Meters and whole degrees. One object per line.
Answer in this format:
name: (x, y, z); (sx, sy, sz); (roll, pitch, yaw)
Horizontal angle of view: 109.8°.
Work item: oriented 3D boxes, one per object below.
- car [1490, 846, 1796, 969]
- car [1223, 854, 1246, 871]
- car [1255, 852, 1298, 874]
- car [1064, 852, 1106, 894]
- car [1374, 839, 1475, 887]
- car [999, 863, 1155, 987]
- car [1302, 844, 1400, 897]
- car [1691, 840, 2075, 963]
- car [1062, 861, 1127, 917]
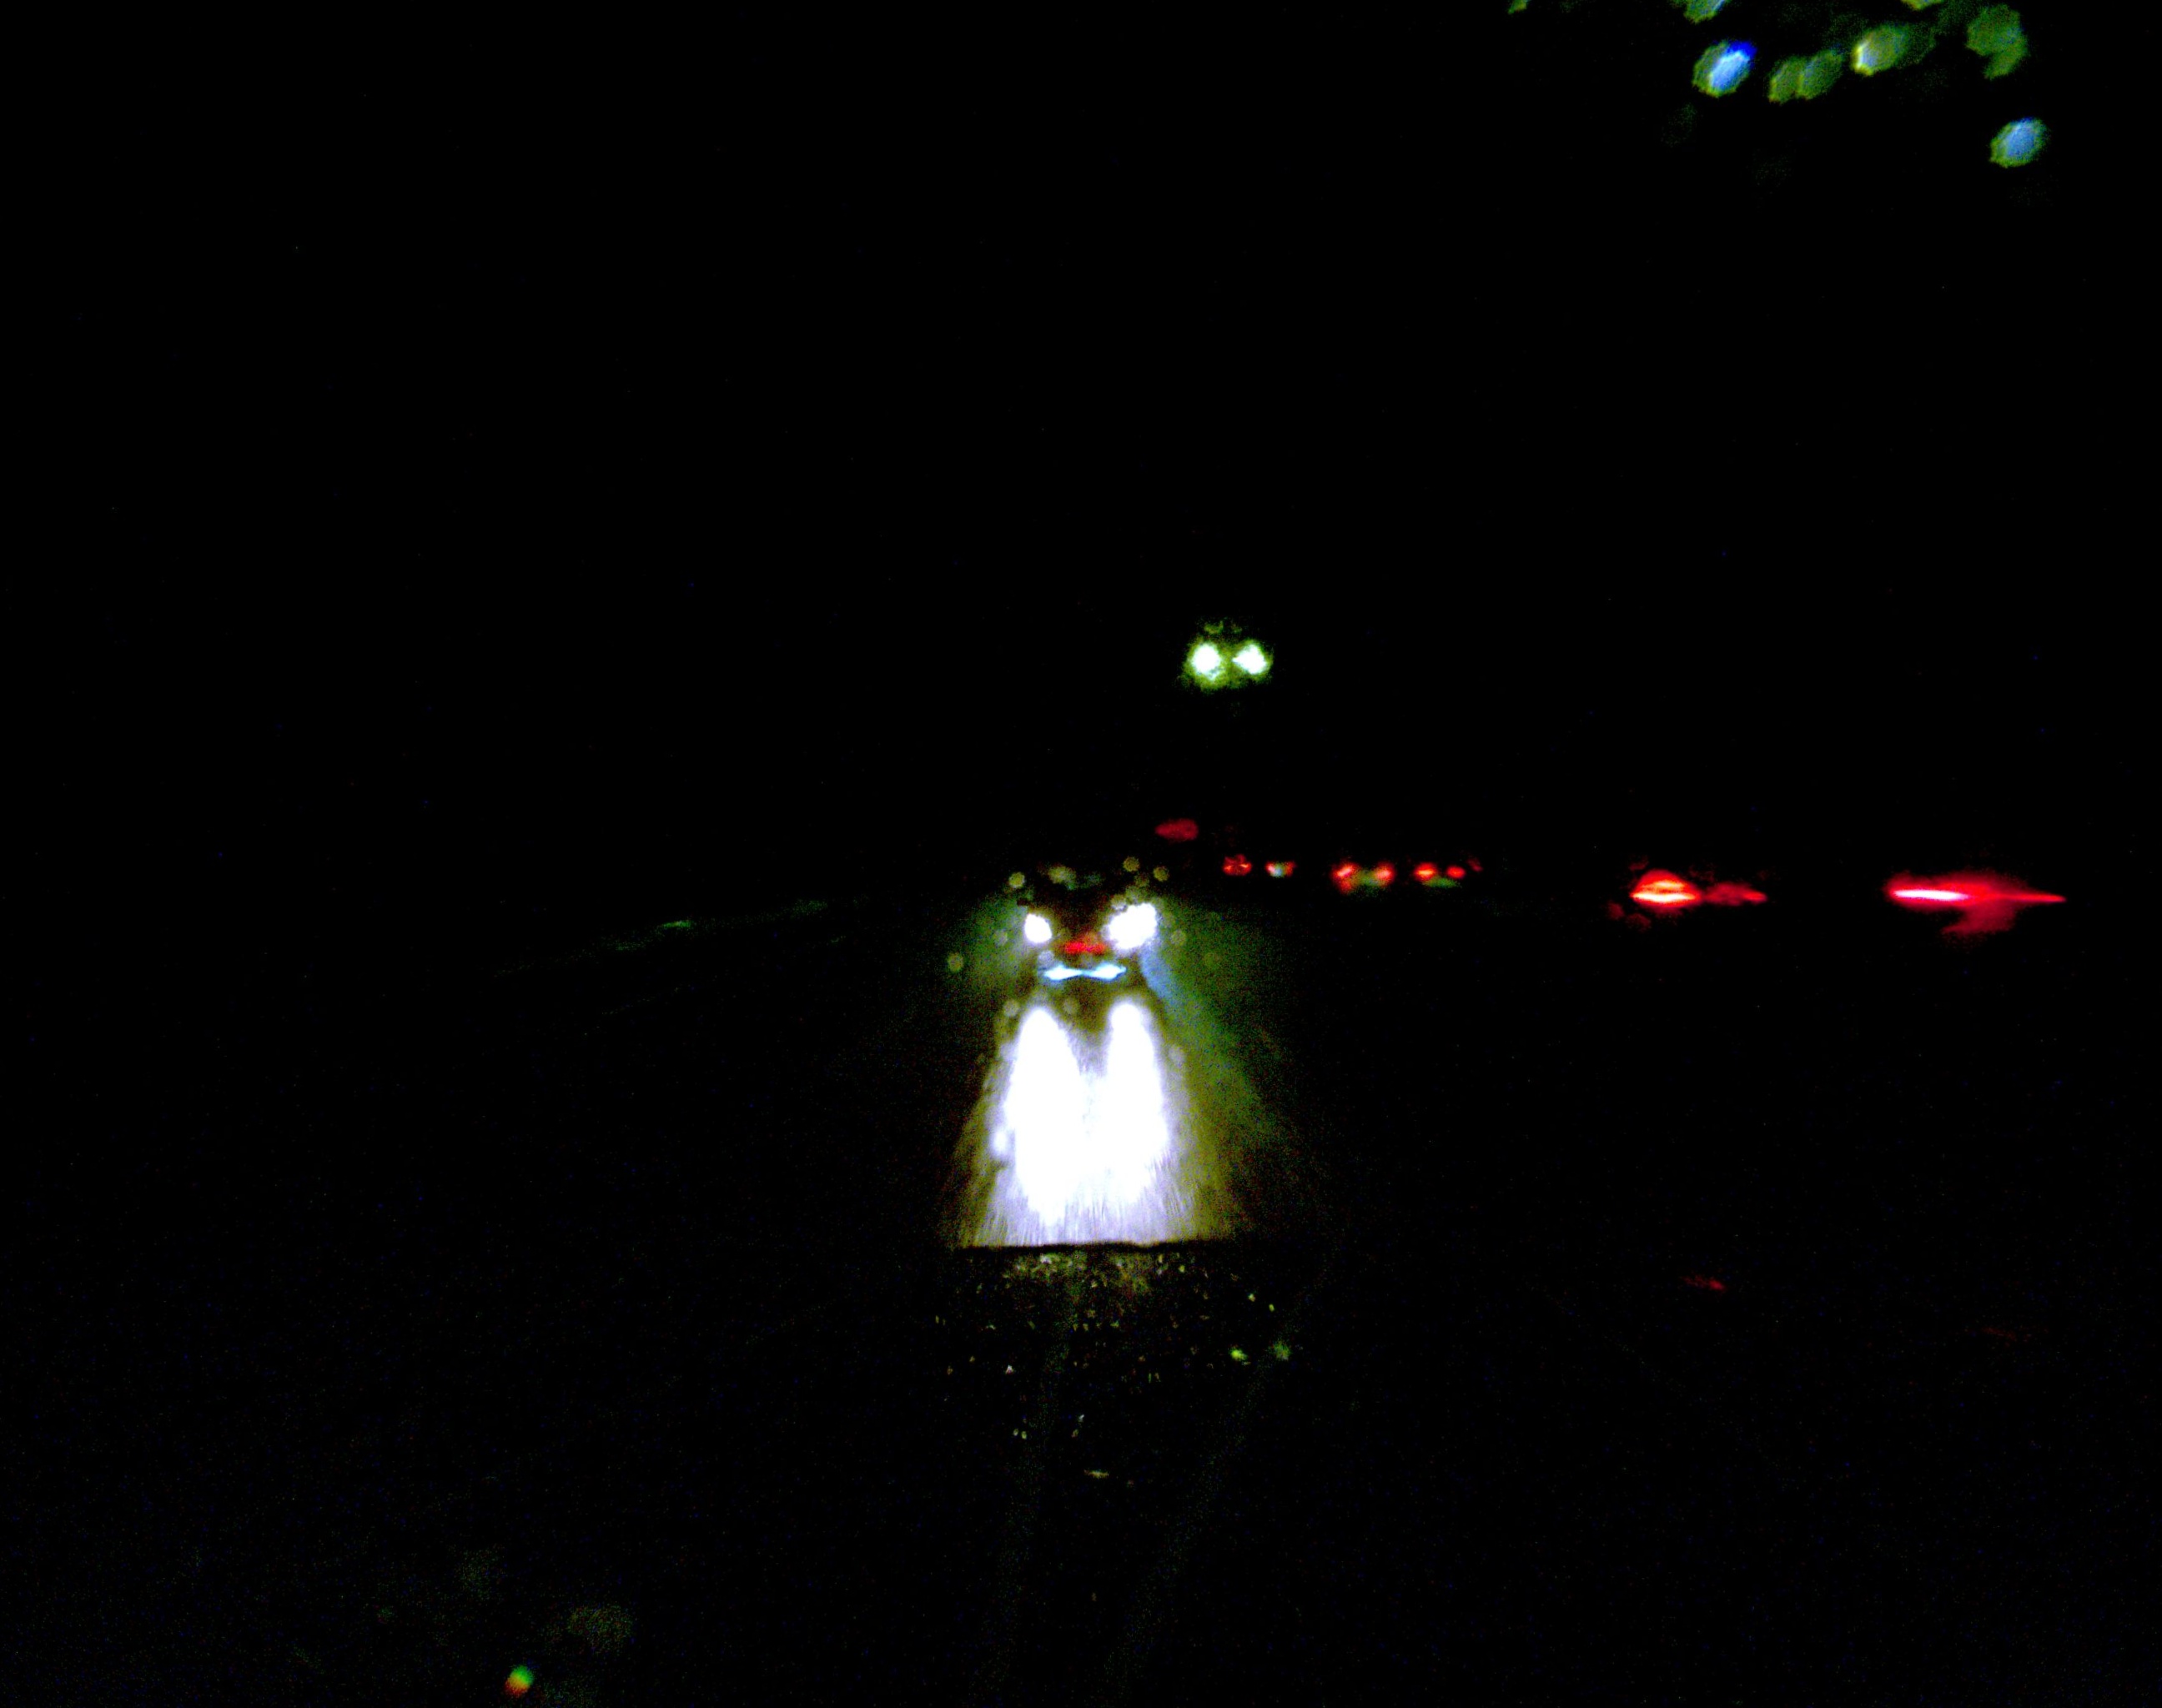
car: (10.100, 0.821, 14.285); (2.170, 1.764, 4.703); (-3, 1, -1)
car: (16.064, 0.858, 79.504); (1.604, 1.543, 3.833); (-3, 1, 1)
car: (15.373, 0.680, 59.942); (2.028, 1.494, 4.895); (-3, 1, 0)
car: (0.141, 0.833, 35.891); (1.784, 1.696, 3.998); (-3, 1, -1)
car: (14.373, 0.318, 32.119); (1.999, 1.764, 4.703); (-3, 1, -1)
car: (0.101, 0.903, 11.317); (1.848, 1.440, 4.002); (-3, -1, 4)
car: (10.473, 0.577, 29.888); (1.999, 1.764, 4.703); (-3, 1, -1)
car: (14.095, 0.678, 13.905); (1.999, 1.764, 4.703); (-3, 1, -1)
car: (0.447, 1.052, 24.374); (1.849, 1.441, 3.874); (-3, 1, 1)
